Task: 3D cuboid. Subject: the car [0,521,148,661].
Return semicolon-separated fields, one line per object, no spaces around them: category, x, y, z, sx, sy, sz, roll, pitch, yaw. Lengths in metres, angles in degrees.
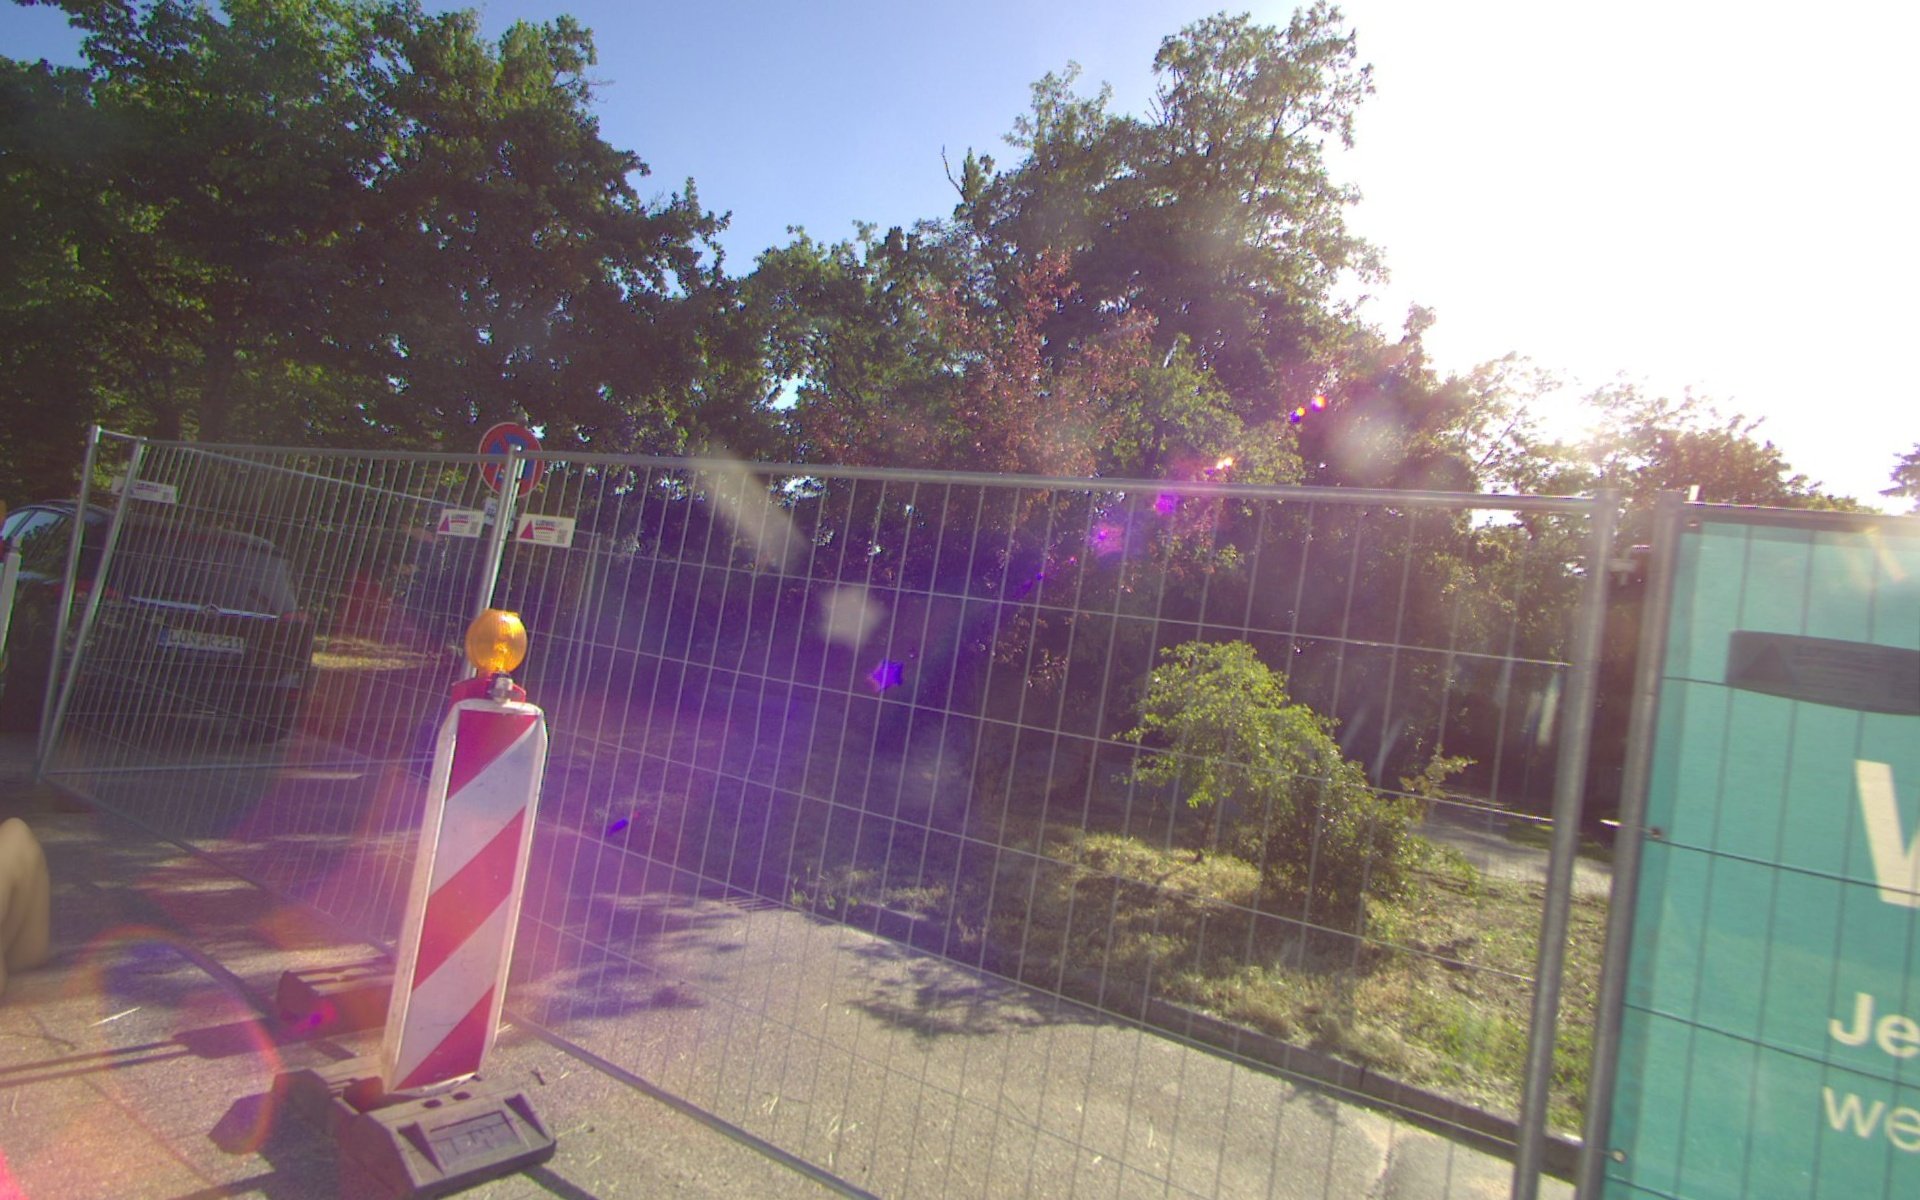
car;-12.059;-0.306;12.430;4.085;1.389;1.668;7;-5;31

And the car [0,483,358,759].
car;-7.158;0.067;8.410;4.351;1.667;1.815;6;-6;35
